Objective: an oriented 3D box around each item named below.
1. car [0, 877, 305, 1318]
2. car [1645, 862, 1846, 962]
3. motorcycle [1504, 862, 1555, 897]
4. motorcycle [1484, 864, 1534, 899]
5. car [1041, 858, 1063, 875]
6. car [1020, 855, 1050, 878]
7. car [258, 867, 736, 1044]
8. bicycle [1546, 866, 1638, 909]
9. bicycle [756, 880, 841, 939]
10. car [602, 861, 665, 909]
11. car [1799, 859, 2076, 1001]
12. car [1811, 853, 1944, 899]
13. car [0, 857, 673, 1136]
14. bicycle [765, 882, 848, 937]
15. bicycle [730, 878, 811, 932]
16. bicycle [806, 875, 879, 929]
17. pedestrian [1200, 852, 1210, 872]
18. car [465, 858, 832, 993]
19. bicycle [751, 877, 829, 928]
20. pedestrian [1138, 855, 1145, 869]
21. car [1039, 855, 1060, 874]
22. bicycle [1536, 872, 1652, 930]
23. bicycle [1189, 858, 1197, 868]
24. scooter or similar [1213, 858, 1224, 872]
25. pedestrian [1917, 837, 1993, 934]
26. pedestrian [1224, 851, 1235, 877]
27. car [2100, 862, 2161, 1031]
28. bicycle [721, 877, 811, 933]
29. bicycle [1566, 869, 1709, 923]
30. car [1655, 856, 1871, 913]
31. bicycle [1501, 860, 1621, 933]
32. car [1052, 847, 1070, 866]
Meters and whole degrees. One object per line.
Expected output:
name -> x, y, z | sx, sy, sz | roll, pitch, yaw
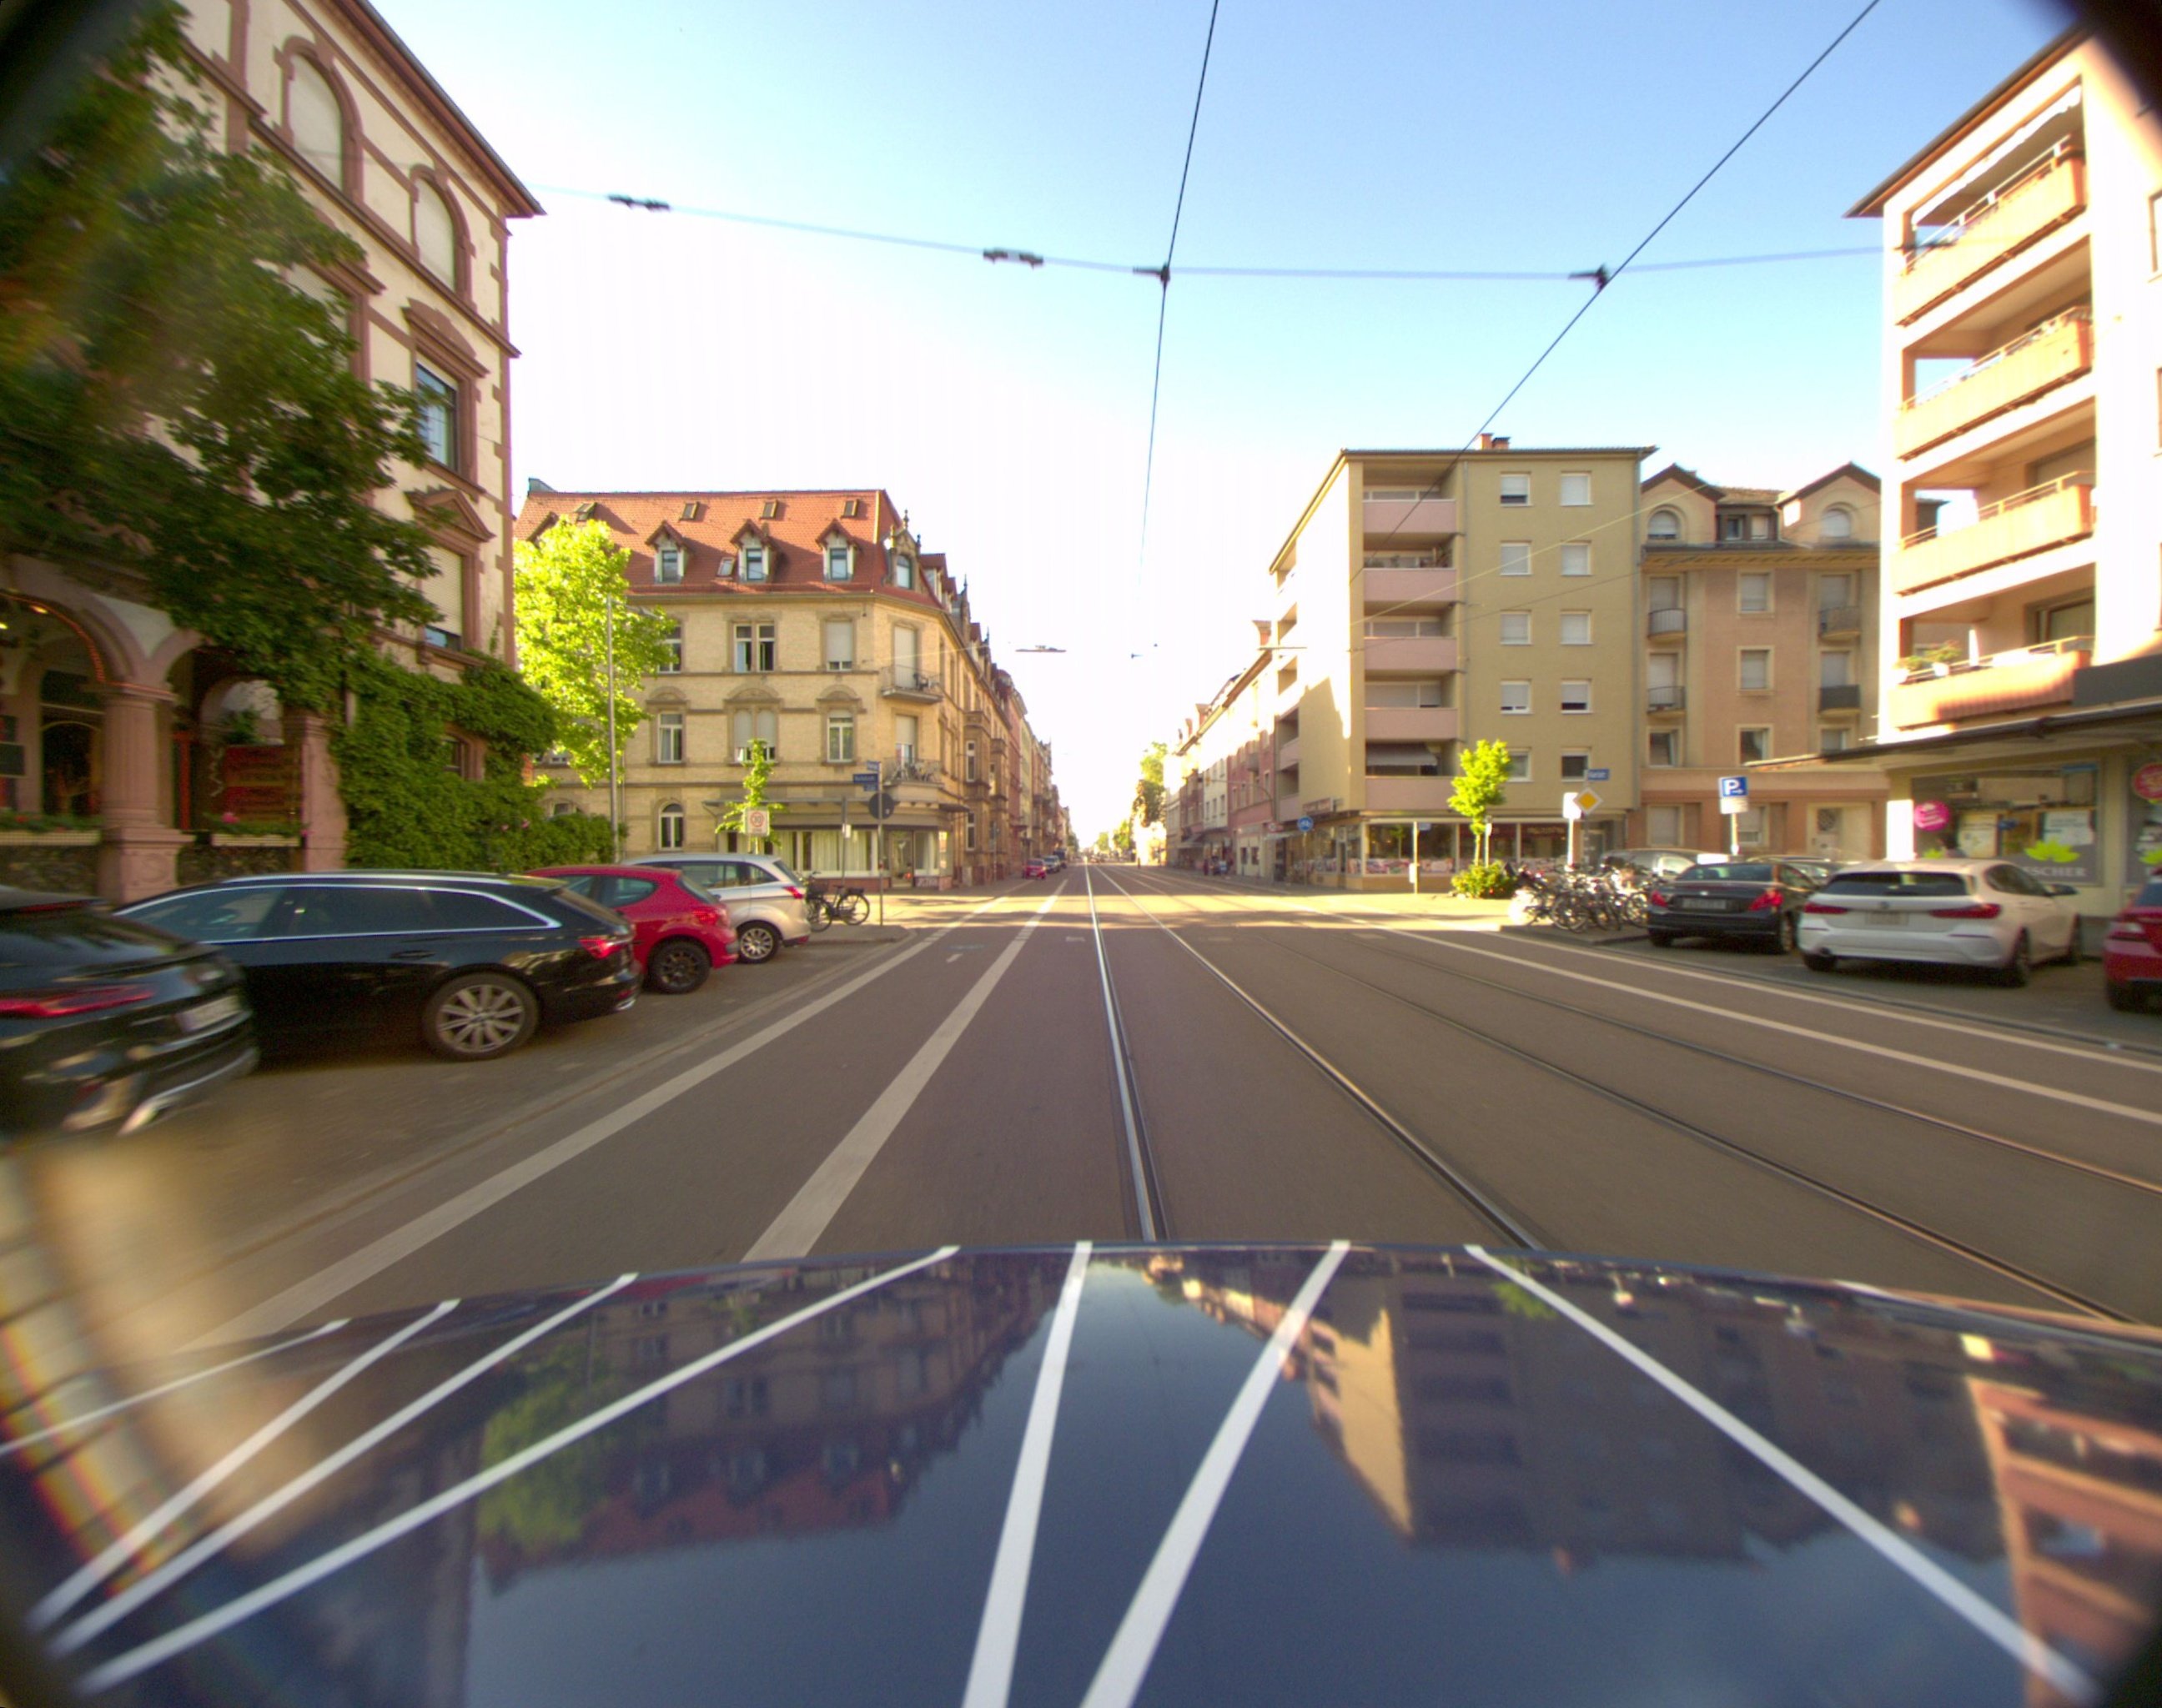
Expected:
car -> -6.300, 0.982, 2.805 | 4.338, 1.587, 2.040 | -1, 1, -27
car -> 10.979, 0.851, 12.509 | 3.477, 1.330, 1.620 | -1, 1, -33
motorcycle -> 16.679, 0.940, 28.301 | 0.621, 1.202, 2.176 | -1, 1, 1
motorcycle -> 15.885, 0.991, 28.262 | 0.621, 1.202, 2.176 | -1, 1, 1
car -> -3.038, 1.343, 80.582 | 1.998, 1.606, 4.785 | 3, 1, 0
car -> -3.397, 0.911, 56.816 | 1.870, 1.474, 4.400 | 2, 1, 0
car -> -6.231, 0.982, 8.802 | 4.005, 1.528, 1.914 | -1, 1, -24
bicycle -> 14.040, 0.920, 20.986 | 0.683, 1.102, 2.435 | -1, -2, -6
bicycle -> -5.514, 1.081, 14.815 | 1.563, 1.120, 0.295 | -1, 1, 7
car -> -15.834, 1.042, 26.952 | 1.775, 1.523, 3.523 | -2, 1, -30
car -> 11.008, 0.814, 9.719 | 3.798, 1.392, 1.750 | -1, 1, -32
car -> 29.161, 0.773, 27.841 | 3.872, 1.502, 1.793 | -1, 1, -16
car -> -5.842, 0.871, 5.974 | 4.454, 1.587, 2.084 | -1, 1, -24
bicycle -> -5.468, 1.107, 15.161 | 1.559, 1.073, 0.307 | -1, 1, 7
bicycle -> -6.830, 1.116, 16.736 | 1.559, 1.120, 0.528 | -1, 1, 7
bicycle -> -5.272, 1.055, 16.823 | 1.400, 1.120, 0.551 | -1, 1, 0
pedestrian -> 9.548, 0.630, 58.470 | 0.637, 1.540, 0.623 | -1, 1, 0
car -> -6.102, 0.907, 11.291 | 4.371, 1.587, 1.850 | -1, 1, -24
bicycle -> -6.669, 1.110, 17.431 | 1.559, 1.120, 0.552 | -1, 1, 7
pedestrian -> 8.399, 1.136, 105.609 | 0.887, 2.002, 0.982 | 0, 1, -1
car -> -3.142, 0.997, 74.718 | 1.871, 1.637, 4.399 | 3, 0, -4
bicycle -> 10.688, 0.965, 15.898 | 0.685, 1.116, 1.883 | 0, -2, -30
bicycle -> 11.765, 0.926, 79.772 | 0.425, 1.053, 2.329 | -1, 1, 0
scooter or similar -> 10.448, 0.849, 57.628 | 0.663, 1.055, 1.105 | -1, 0, 1
pedestrian -> 15.159, 0.533, 13.195 | 0.570, 1.643, 0.641 | -1, 1, 1
pedestrian -> 9.877, 0.650, 50.626 | 0.564, 1.676, 0.616 | -1, 1, -1
car -> 11.293, 0.821, 7.091 | 3.476, 1.464, 1.645 | 0, 0, -28
bicycle -> -6.667, 1.074, 16.119 | 1.678, 1.120, 0.552 | -1, 1, 7
bicycle -> 11.967, 0.896, 16.406 | 2.429, 1.102, 0.685 | -3, -2, 41
car -> 18.653, 0.875, 20.982 | 1.852, 1.383, 3.992 | -1, -3, -30
bicycle -> 9.443, 0.815, 15.094 | 0.683, 1.311, 2.435 | -1, -2, -3
car -> -2.826, 0.334, 107.359 | 2.128, 2.478, 5.856 | -1, 1, 2
